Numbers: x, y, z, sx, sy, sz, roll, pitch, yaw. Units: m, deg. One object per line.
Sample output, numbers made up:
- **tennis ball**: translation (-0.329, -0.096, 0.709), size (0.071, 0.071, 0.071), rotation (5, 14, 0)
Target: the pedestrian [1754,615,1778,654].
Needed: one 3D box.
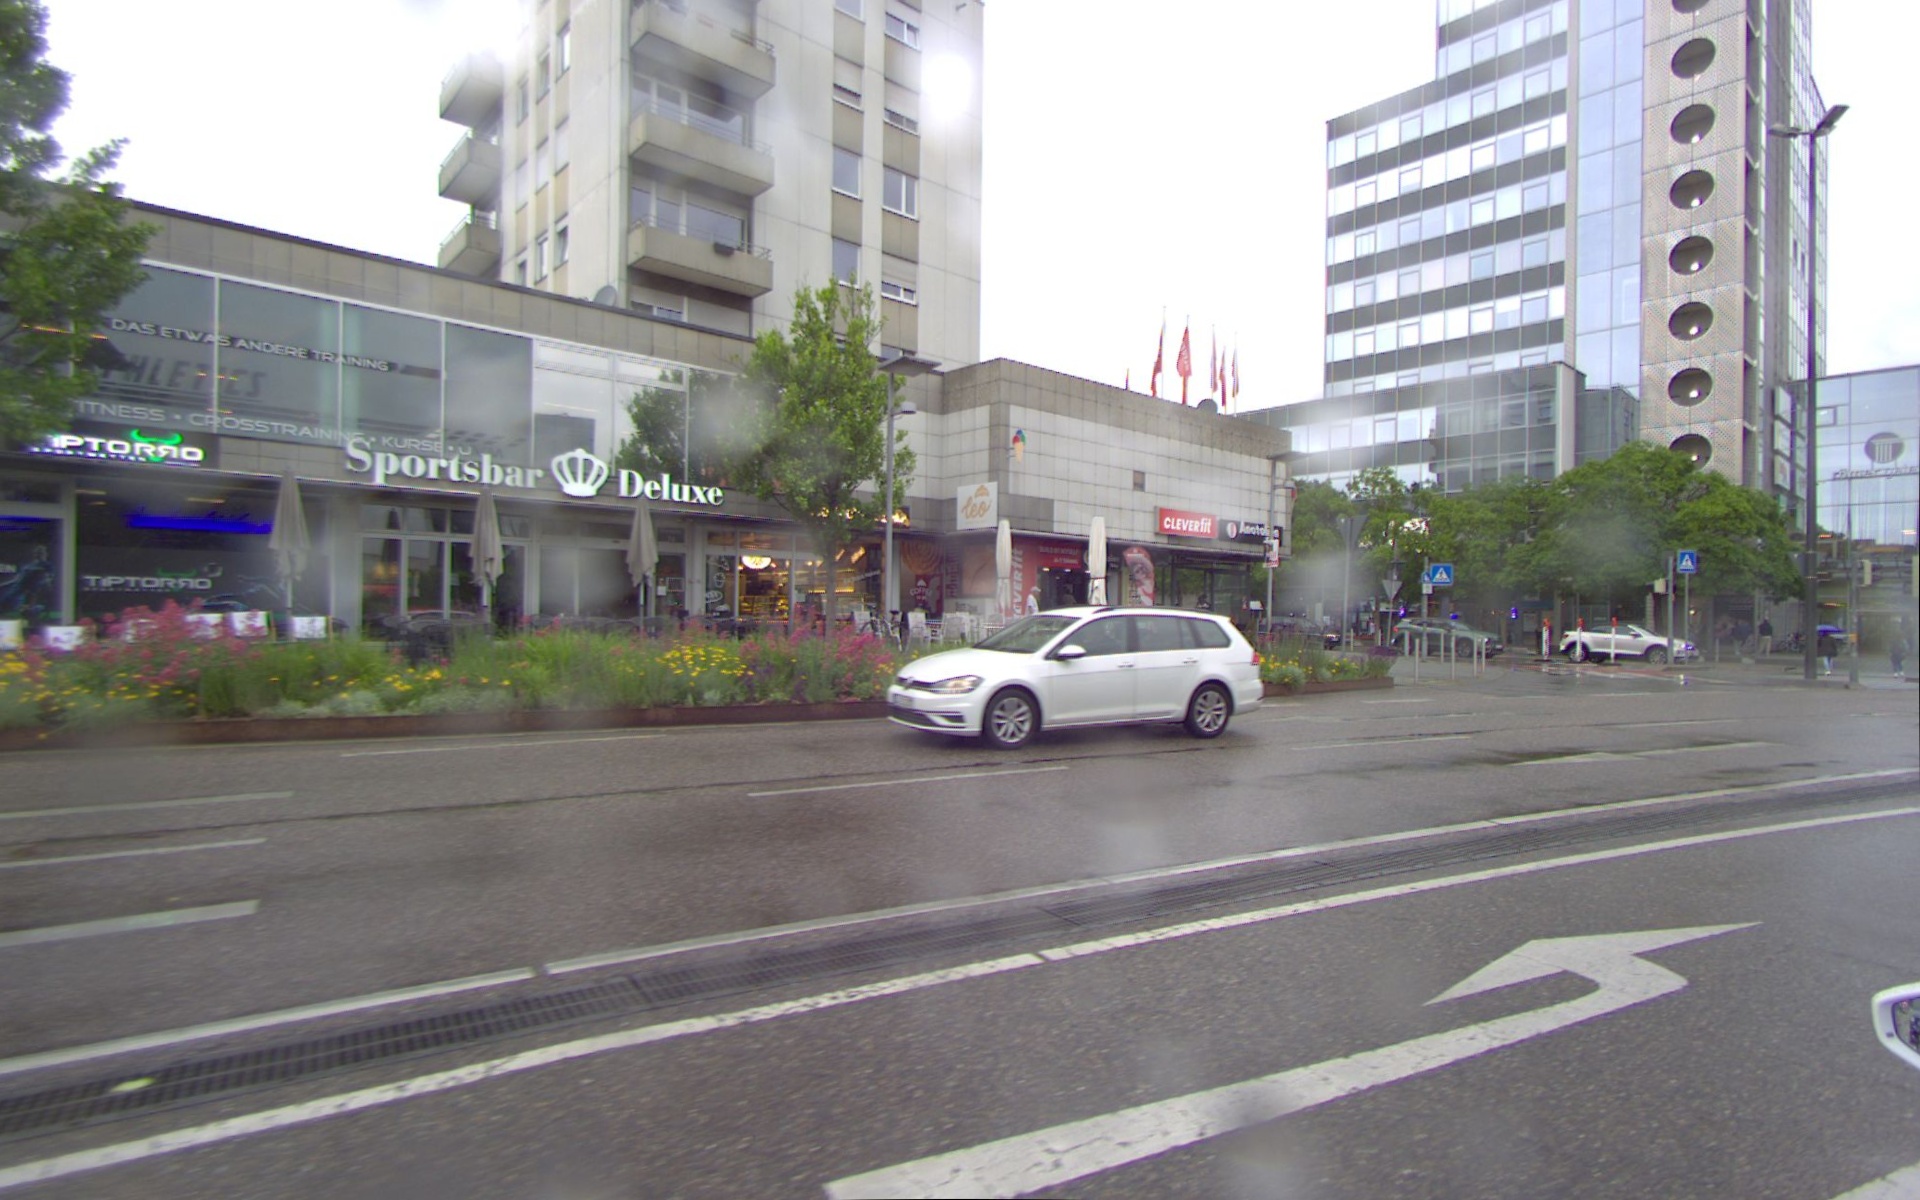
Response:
- **pedestrian**: translation (42.573, 1.812, 53.072), size (0.756, 2.040, 0.709), rotation (1, 0, -29)

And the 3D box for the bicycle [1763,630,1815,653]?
- **bicycle**: translation (47.157, 2.339, 57.151), size (0.672, 1.263, 2.251), rotation (2, -1, -43)

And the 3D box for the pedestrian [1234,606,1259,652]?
- **pedestrian**: translation (8.657, 0.883, 30.353), size (0.527, 1.365, 0.497), rotation (2, 0, -8)

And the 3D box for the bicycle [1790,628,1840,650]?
- **bicycle**: translation (50.969, 2.308, 59.894), size (0.672, 1.263, 2.251), rotation (2, -1, -43)

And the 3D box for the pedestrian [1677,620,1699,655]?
- **pedestrian**: translation (39.836, 2.035, 54.968), size (0.739, 1.893, 0.833), rotation (1, -1, 21)

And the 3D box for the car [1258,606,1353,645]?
- **car**: translation (16.495, 1.165, 48.052), size (1.851, 1.617, 3.960), rotation (-1, 2, -35)

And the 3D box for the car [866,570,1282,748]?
- **car**: translation (1.354, 0.604, 11.510), size (4.449, 1.705, 1.878), rotation (1, 0, -28)

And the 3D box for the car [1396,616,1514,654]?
- **car**: translation (20.650, 1.434, 42.017), size (1.852, 1.439, 4.018), rotation (1, 0, -35)

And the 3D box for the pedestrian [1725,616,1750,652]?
- **pedestrian**: translation (41.841, 1.826, 54.065), size (0.742, 1.893, 0.829), rotation (1, -1, -20)

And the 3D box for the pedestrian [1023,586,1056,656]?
- **pedestrian**: translation (1.970, 0.520, 25.005), size (0.645, 1.715, 0.714), rotation (1, 0, -10)

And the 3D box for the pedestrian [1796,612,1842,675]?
- **pedestrian**: translation (29.149, 1.448, 34.090), size (1.149, 2.040, 1.322), rotation (1, 0, 41)

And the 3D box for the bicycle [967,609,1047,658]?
- **bicycle**: translation (1.252, 0.884, 27.488), size (0.690, 1.239, 2.526), rotation (1, 0, -37)

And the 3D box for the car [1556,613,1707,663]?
- **car**: translation (24.340, 1.345, 36.542), size (1.852, 1.616, 4.164), rotation (1, 0, -35)

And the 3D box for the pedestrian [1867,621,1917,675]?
- **pedestrian**: translation (32.450, 1.677, 34.992), size (1.006, 1.843, 0.846), rotation (1, -1, -10)
